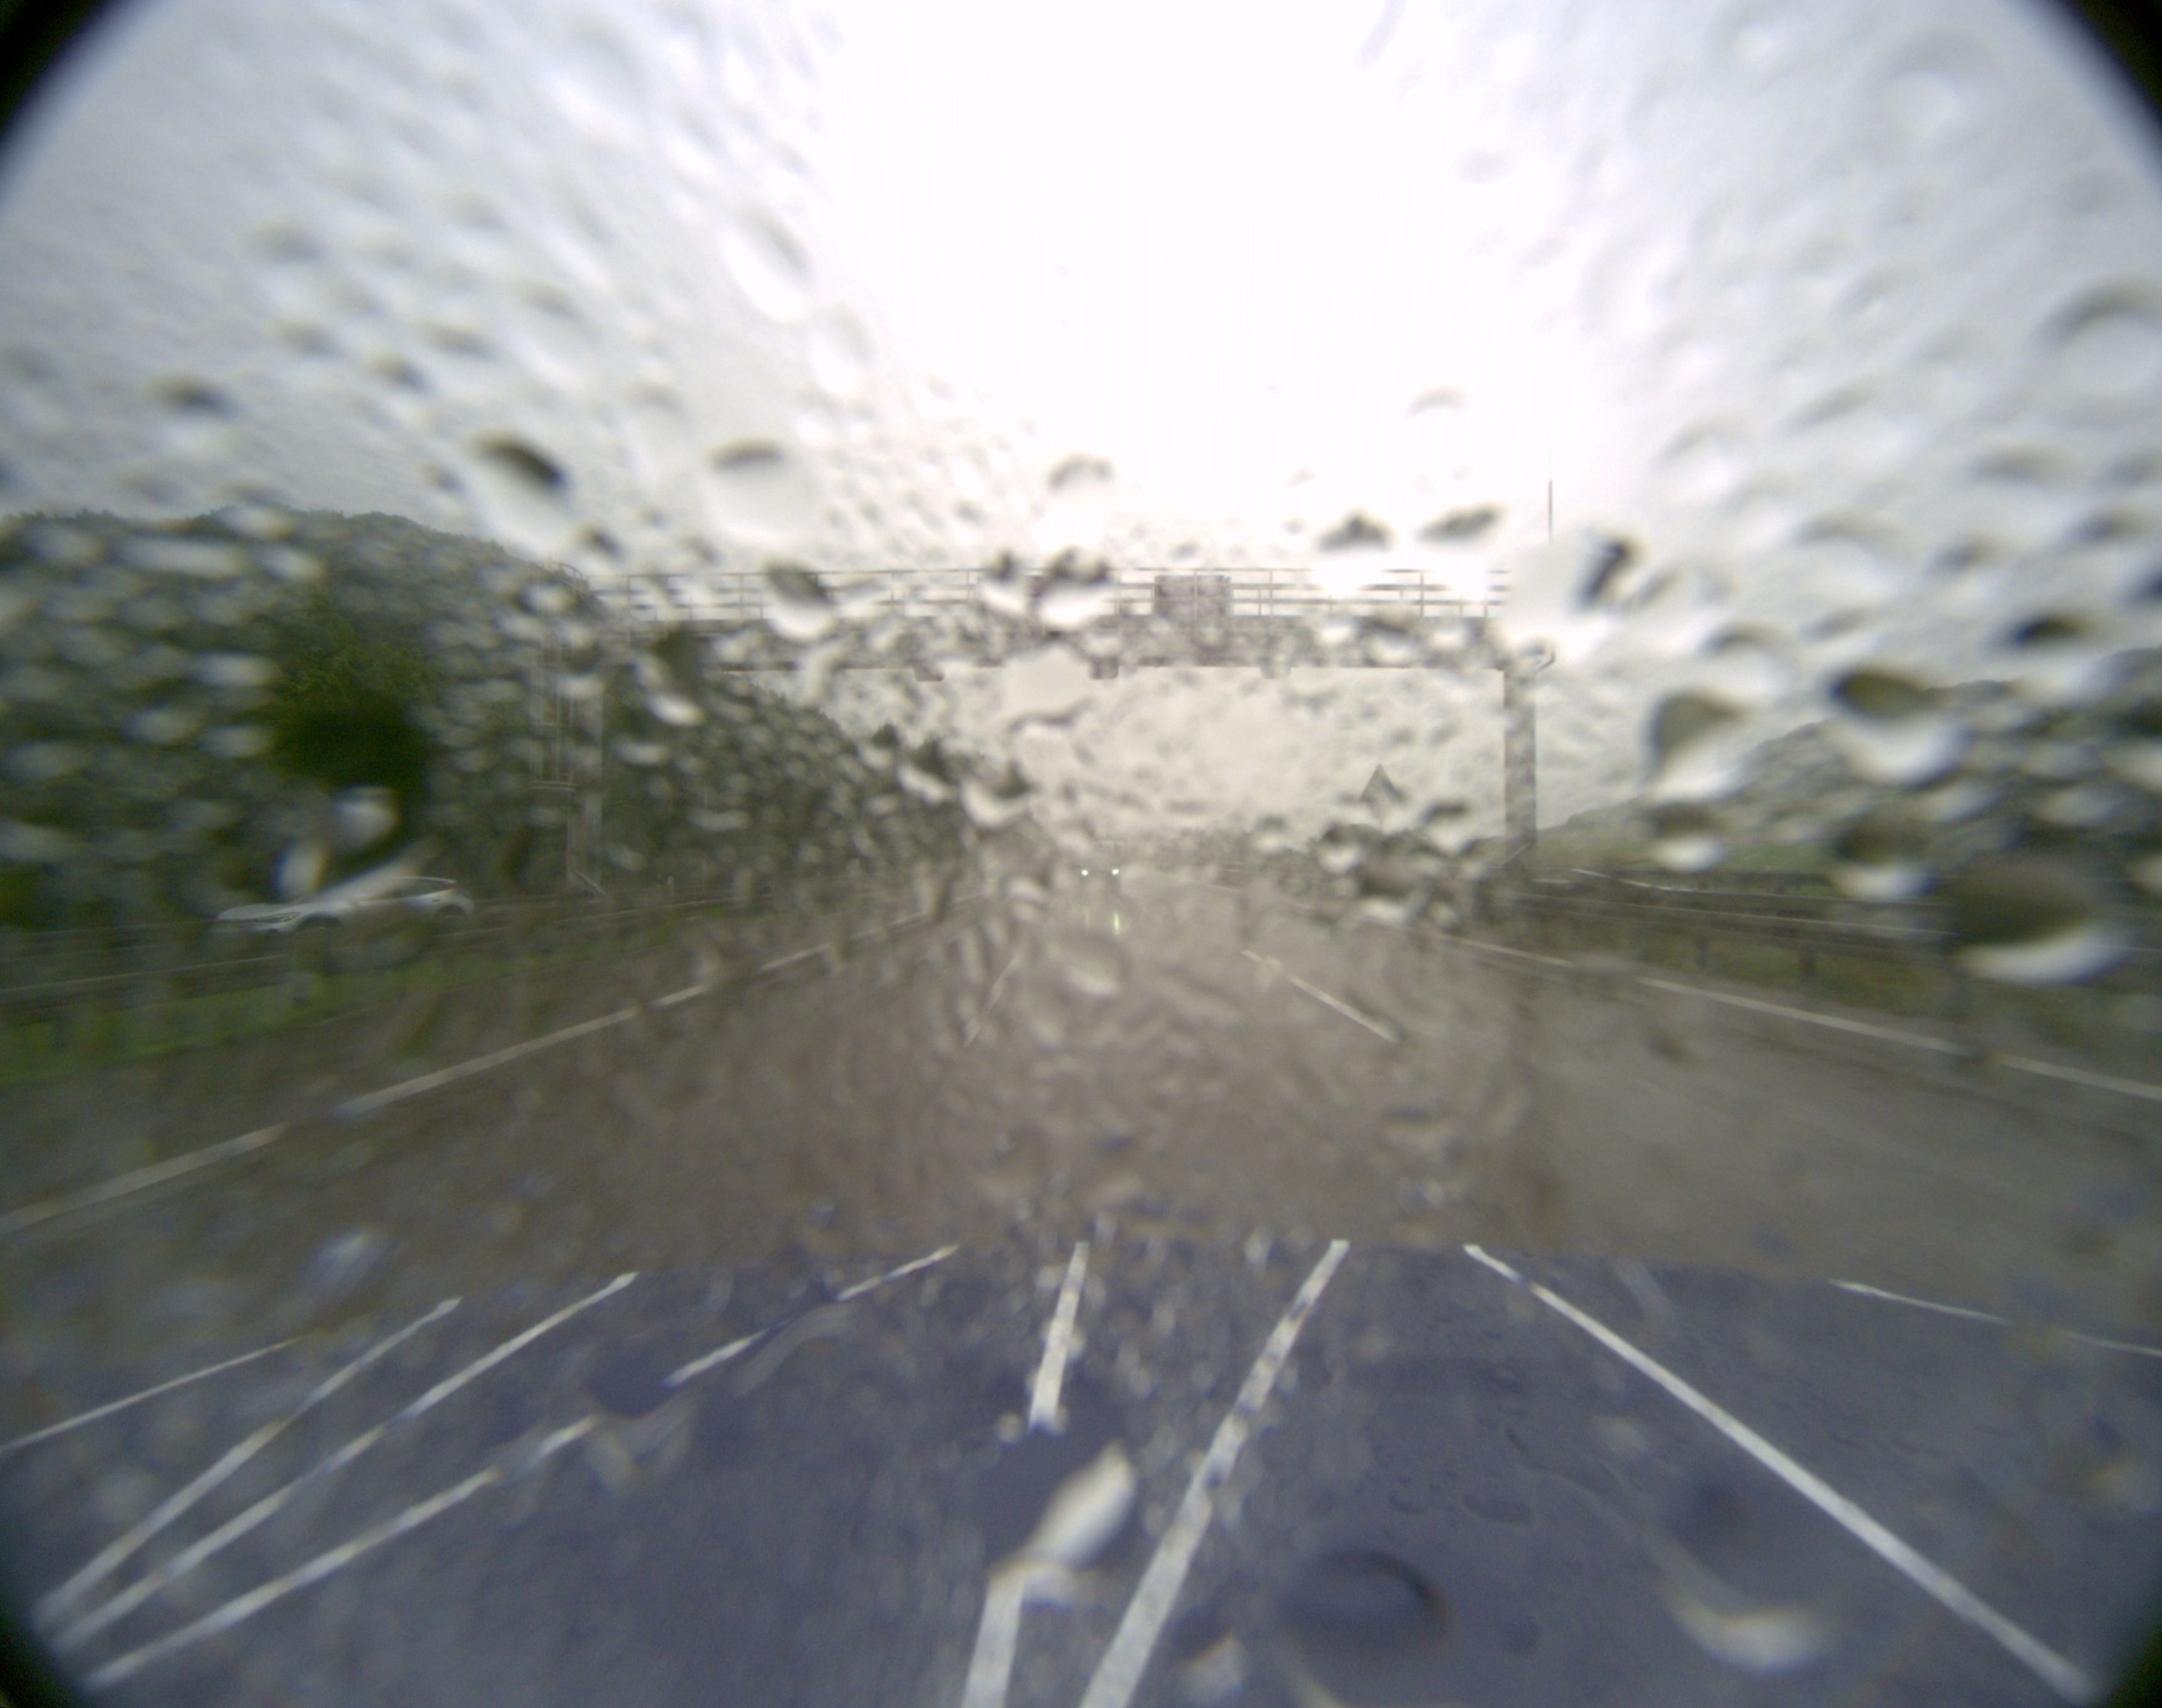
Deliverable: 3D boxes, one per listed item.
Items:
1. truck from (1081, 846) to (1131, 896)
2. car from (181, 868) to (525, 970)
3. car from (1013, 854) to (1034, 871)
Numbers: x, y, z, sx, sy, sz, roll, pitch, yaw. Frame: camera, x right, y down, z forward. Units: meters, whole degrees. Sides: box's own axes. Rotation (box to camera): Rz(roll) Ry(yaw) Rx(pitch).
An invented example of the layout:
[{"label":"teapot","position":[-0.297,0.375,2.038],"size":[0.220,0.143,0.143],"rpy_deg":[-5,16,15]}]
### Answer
[{"label":"truck","position":[1.062,0.690,34.947],"size":[1.998,2.002,7.575],"rpy_deg":[-1,0,1]},{"label":"car","position":[-16.255,1.334,17.595],"size":[1.997,1.740,5.665],"rpy_deg":[-2,1,7]},{"label":"car","position":[-6.916,1.019,91.973],"size":[1.858,2.002,4.001],"rpy_deg":[-2,0,4]}]
